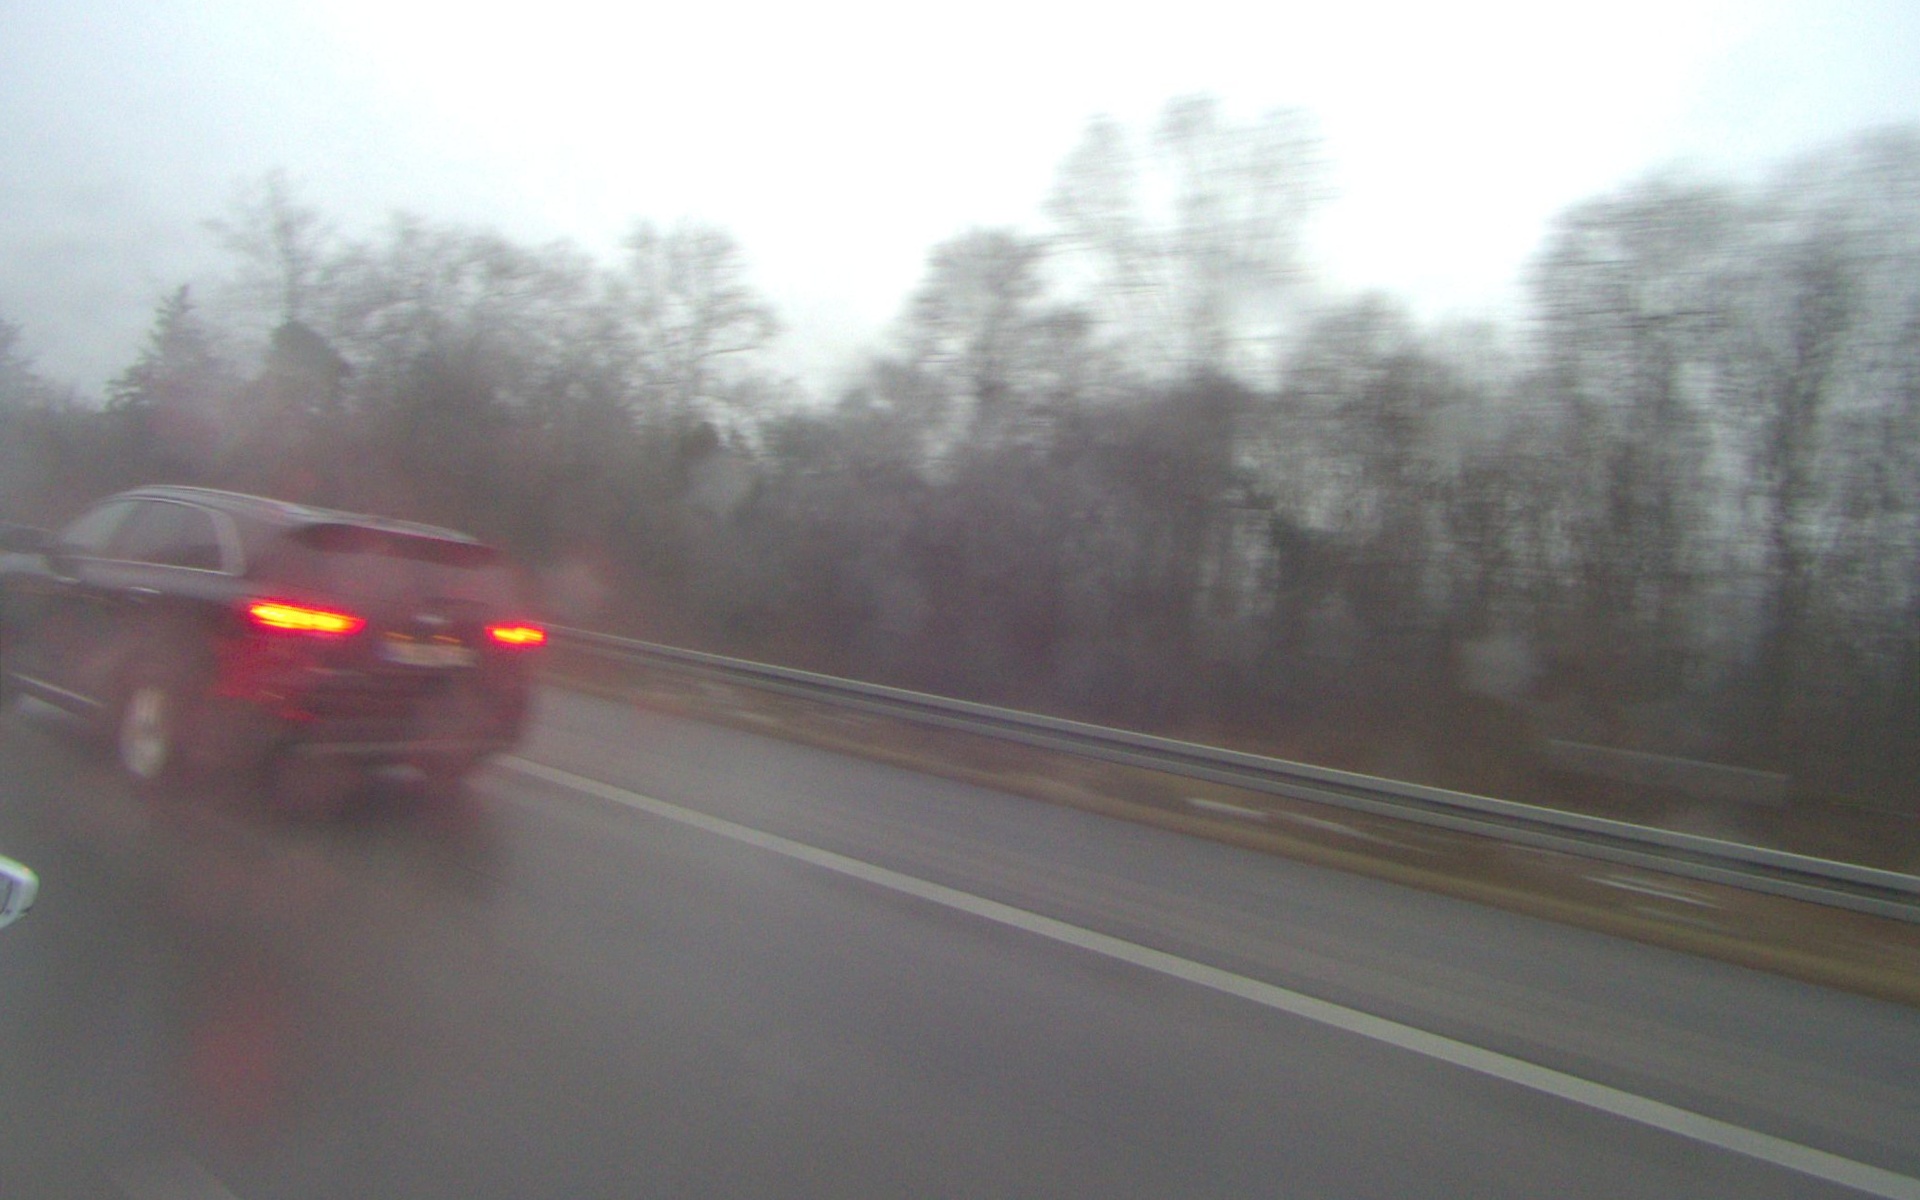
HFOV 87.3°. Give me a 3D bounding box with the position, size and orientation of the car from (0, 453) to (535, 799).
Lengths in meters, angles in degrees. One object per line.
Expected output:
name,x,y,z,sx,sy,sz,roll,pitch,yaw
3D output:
car,-5.412,0.039,7.199,4.387,1.717,2.074,7,-1,32
